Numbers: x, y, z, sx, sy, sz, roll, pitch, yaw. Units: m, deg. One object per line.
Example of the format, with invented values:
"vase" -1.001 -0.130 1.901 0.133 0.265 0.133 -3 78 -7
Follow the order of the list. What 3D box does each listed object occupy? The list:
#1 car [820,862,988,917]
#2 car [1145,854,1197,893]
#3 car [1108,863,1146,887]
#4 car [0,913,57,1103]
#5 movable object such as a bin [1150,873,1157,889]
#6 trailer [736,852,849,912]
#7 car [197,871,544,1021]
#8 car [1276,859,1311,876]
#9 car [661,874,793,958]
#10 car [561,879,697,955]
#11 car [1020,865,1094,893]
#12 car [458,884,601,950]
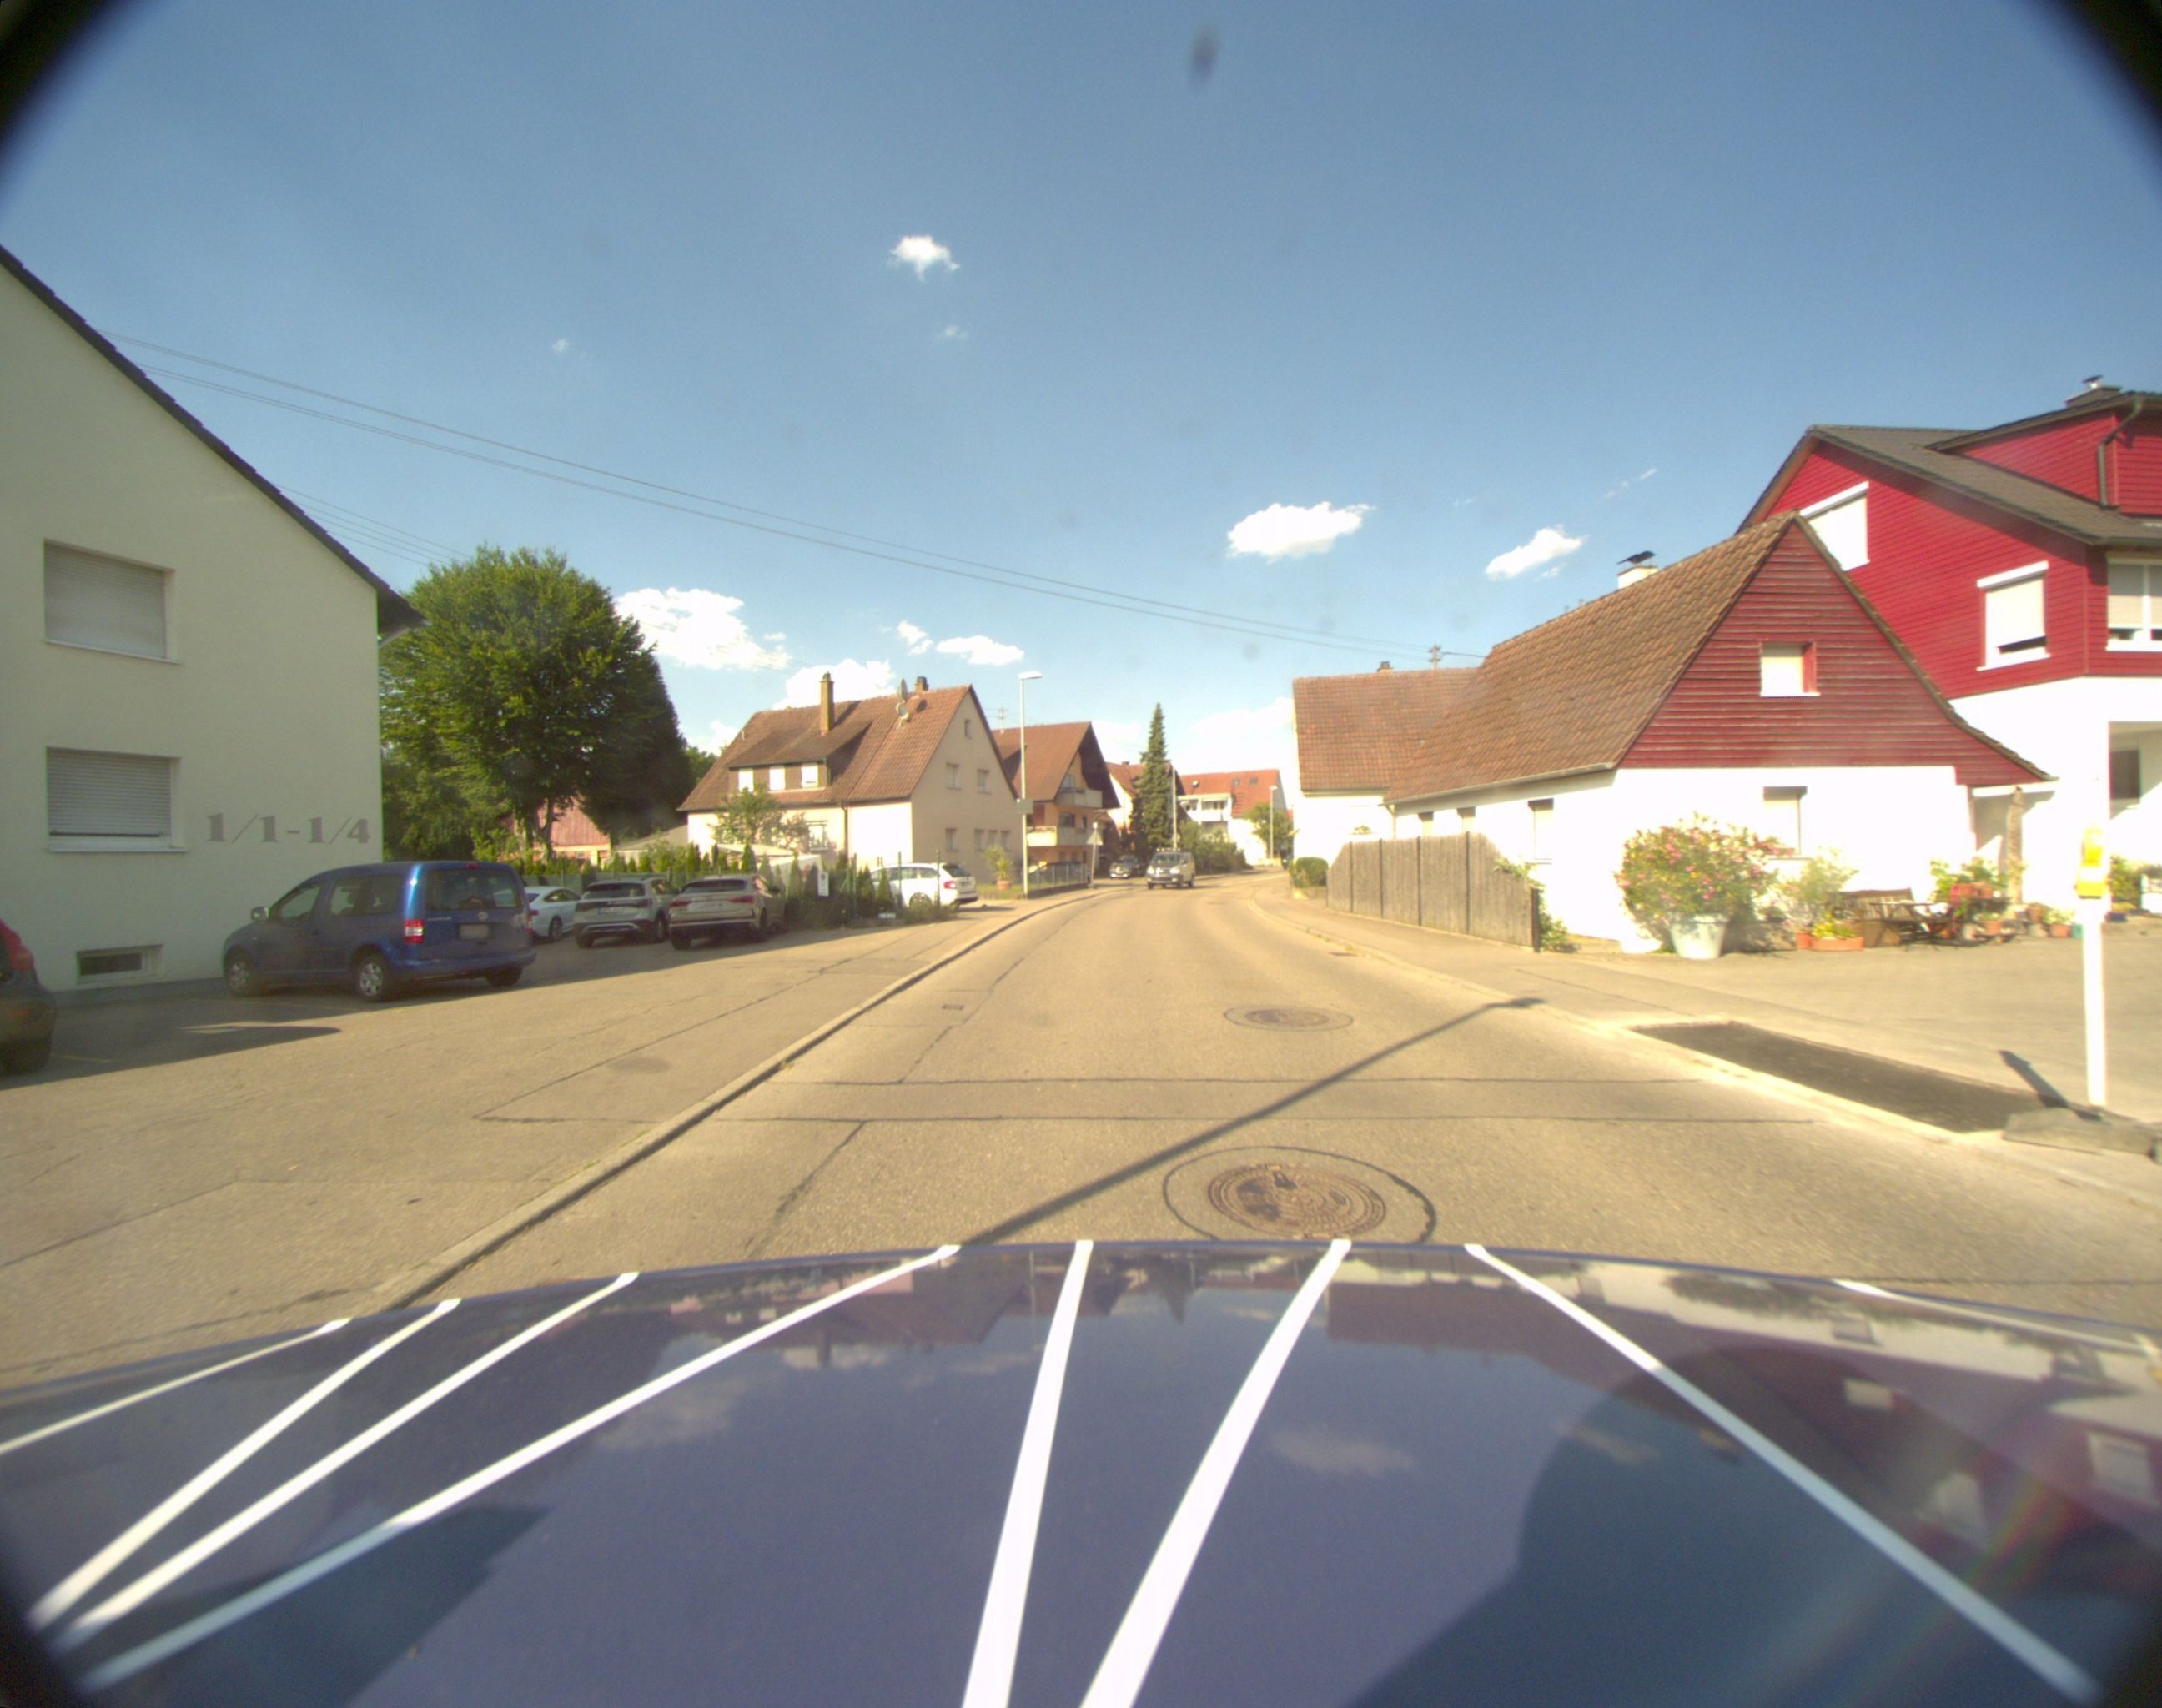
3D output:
"car" -5.096 0.996 21.911 4.468 1.449 1.733 -1 0 20
"car" 5.031 1.061 41.807 1.817 1.988 4.828 -1 -1 19
"car" 3.200 1.405 51.964 1.644 1.507 3.806 -1 0 18
"car" -10.053 1.225 5.943 3.211 1.441 1.653 -1 -1 22
"movable object such as a bin" 4.706 1.750 49.220 0.391 0.975 0.352 -1 -1 23
"trailer" -9.072 0.859 24.095 1.522 1.741 3.223 -1 -1 23
"car" -10.016 1.180 10.757 4.205 1.776 1.769 -1 0 19
"car" 21.614 1.348 77.097 1.968 1.646 4.009 1 0 39
"car" -7.958 1.302 17.507 1.700 1.510 4.273 -4 0 -11
"car" -10.976 1.455 18.741 1.766 1.535 3.673 -3 0 -13
"car" -1.303 1.354 40.951 3.690 1.426 1.439 -2 -1 27
"car" -14.270 1.568 19.917 1.680 1.399 3.673 -1 0 -13
